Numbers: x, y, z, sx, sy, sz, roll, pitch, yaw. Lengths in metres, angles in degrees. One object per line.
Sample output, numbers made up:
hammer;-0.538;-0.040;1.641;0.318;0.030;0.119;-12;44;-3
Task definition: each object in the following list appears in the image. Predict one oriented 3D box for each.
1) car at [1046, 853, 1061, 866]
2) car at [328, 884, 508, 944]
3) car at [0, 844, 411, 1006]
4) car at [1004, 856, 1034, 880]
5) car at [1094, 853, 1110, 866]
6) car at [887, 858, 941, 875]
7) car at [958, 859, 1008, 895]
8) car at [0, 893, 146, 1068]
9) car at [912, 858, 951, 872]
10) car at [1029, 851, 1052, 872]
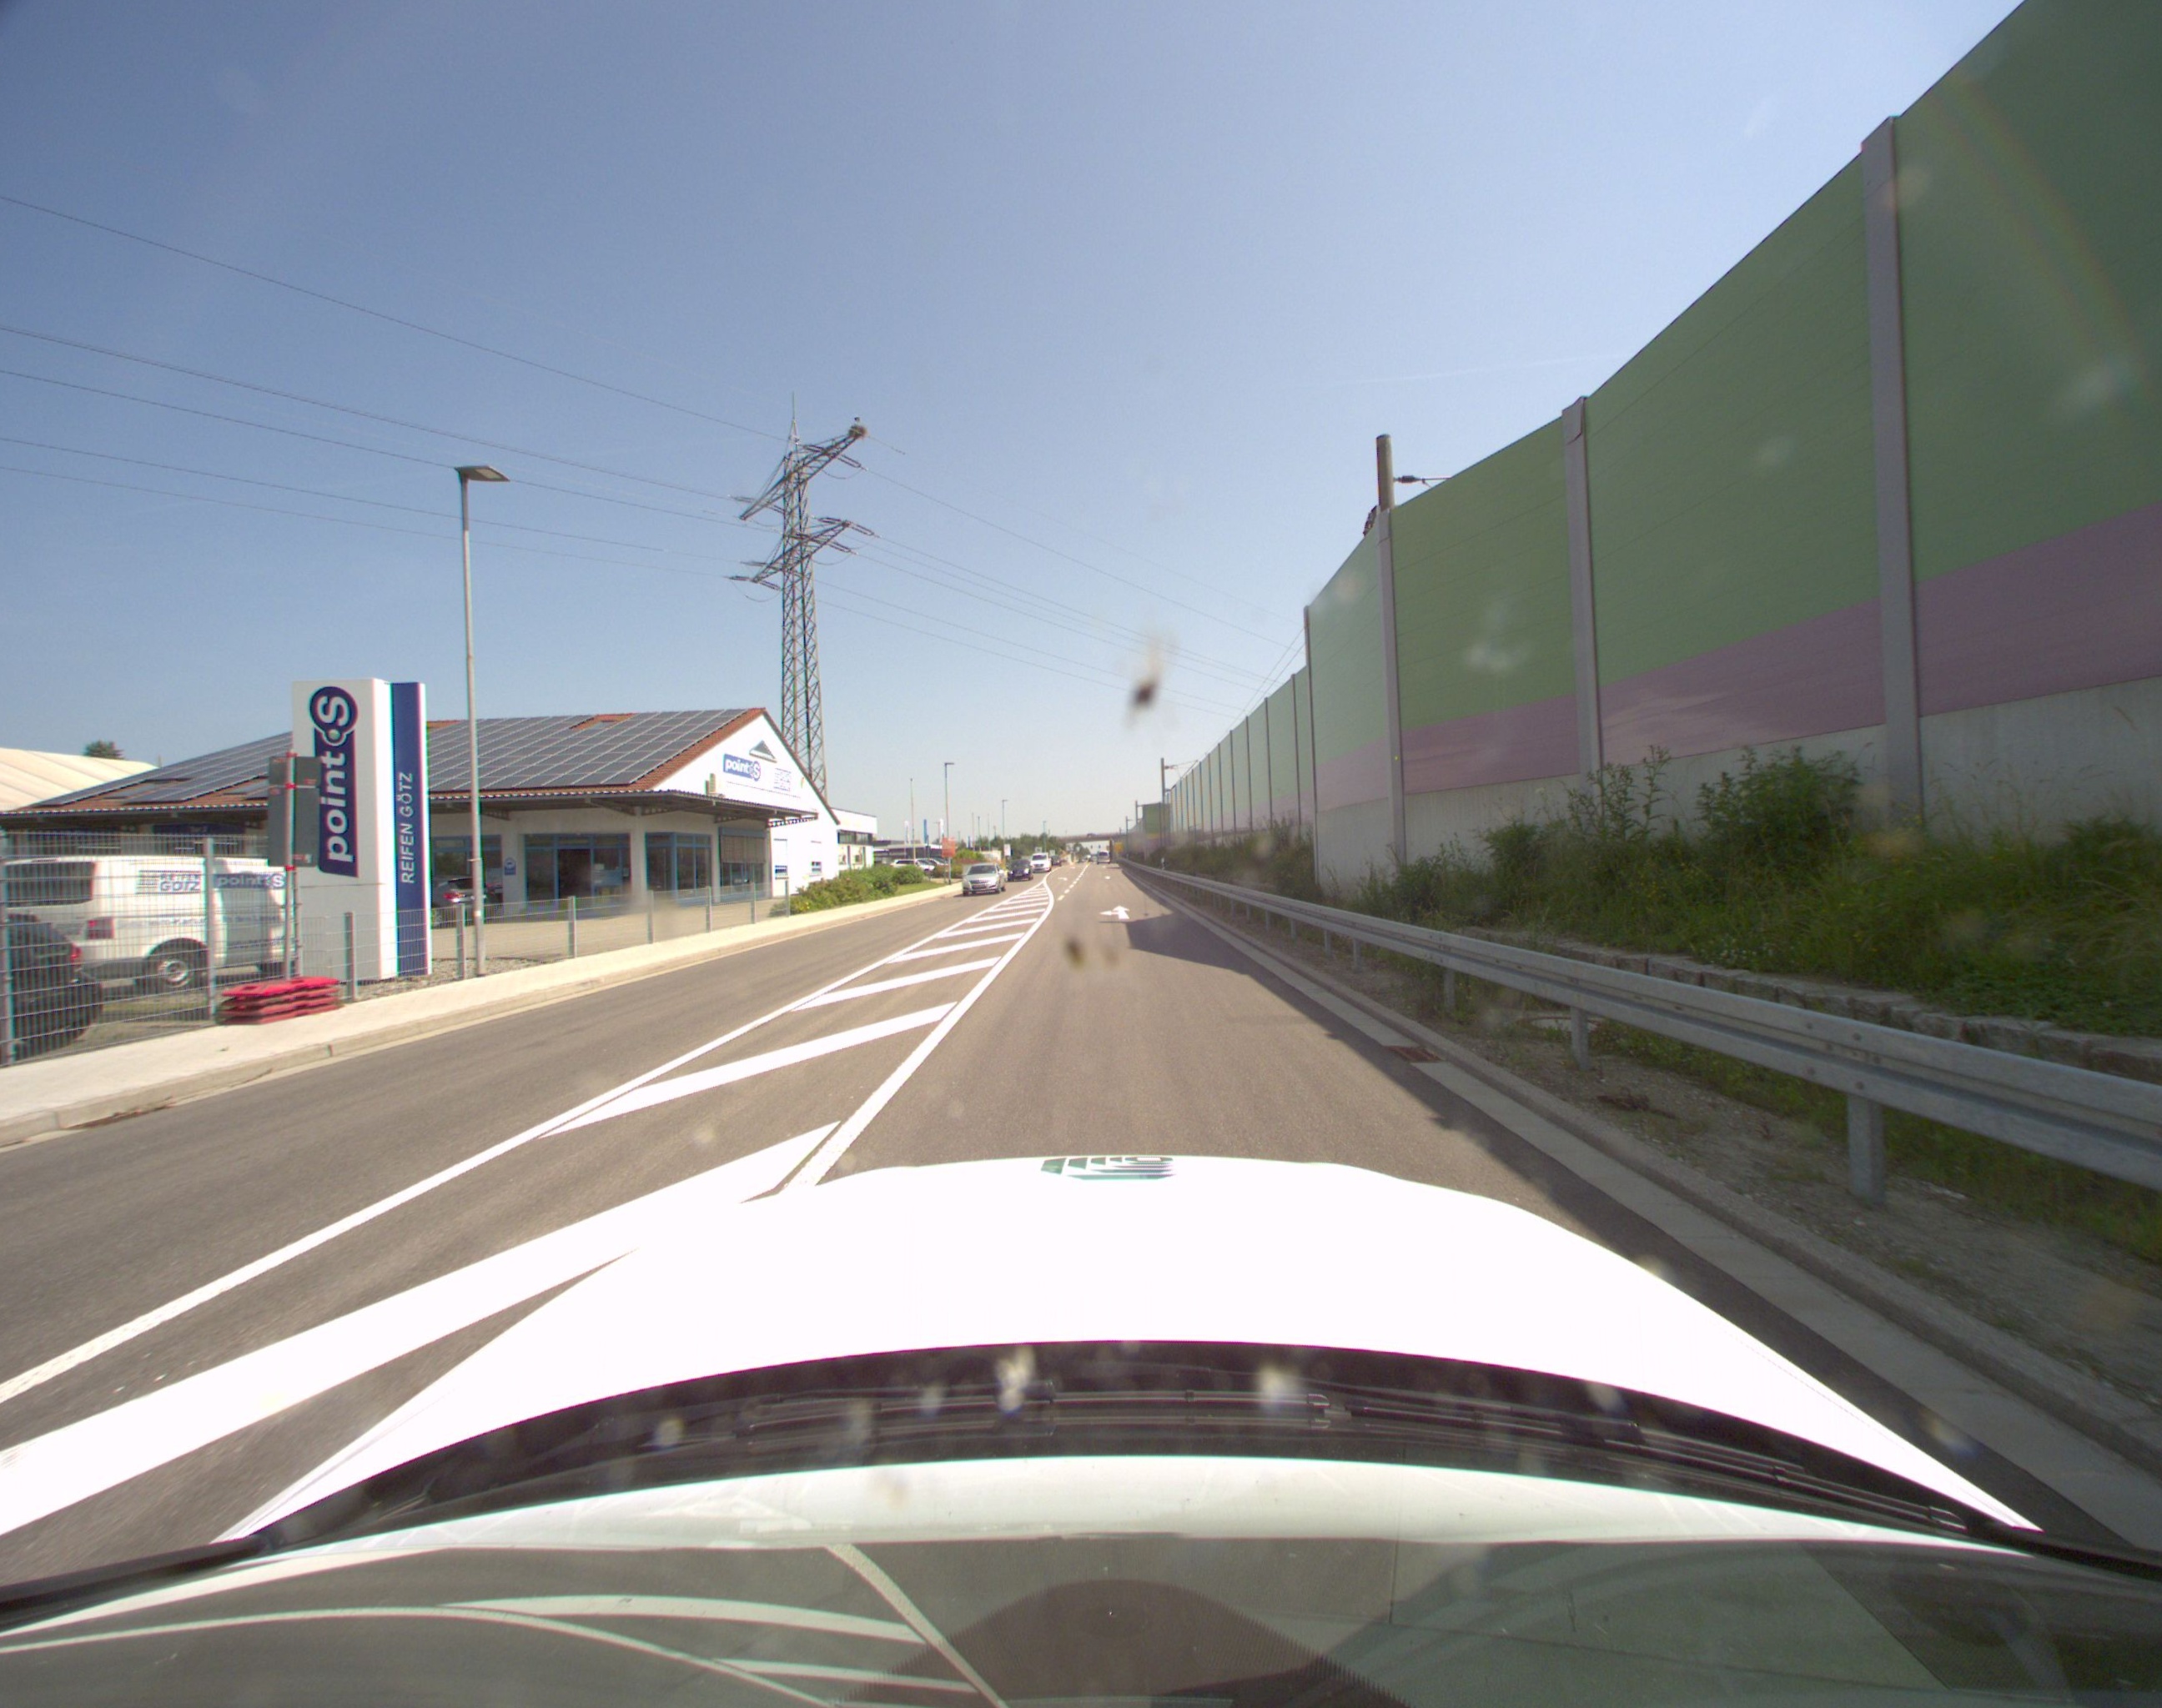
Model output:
car;-3.426;0.695;102.942;1.665;1.423;4.000;-3;0;1
car;-19.888;1.789;24.523;3.969;1.485;1.786;-3;0;4
car;-13.552;0.965;12.788;1.986;2.014;4.683;-3;-1;2
car;-4.468;0.992;59.280;1.663;1.600;3.973;-4;0;1
car;2.948;0.754;111.953;1.985;1.757;4.003;-2;0;3
car;-14.344;1.065;70.005;4.211;1.456;1.763;0;0;-1
car;-4.603;1.068;38.930;1.758;1.466;4.259;-4;0;0
car;-11.632;1.218;7.200;4.006;1.493;1.729;-2;0;-25
car;-14.512;1.060;78.960;3.499;1.254;1.504;0;0;-1
car;-3.965;0.764;80.397;1.988;1.874;5.166;-3;0;-2
